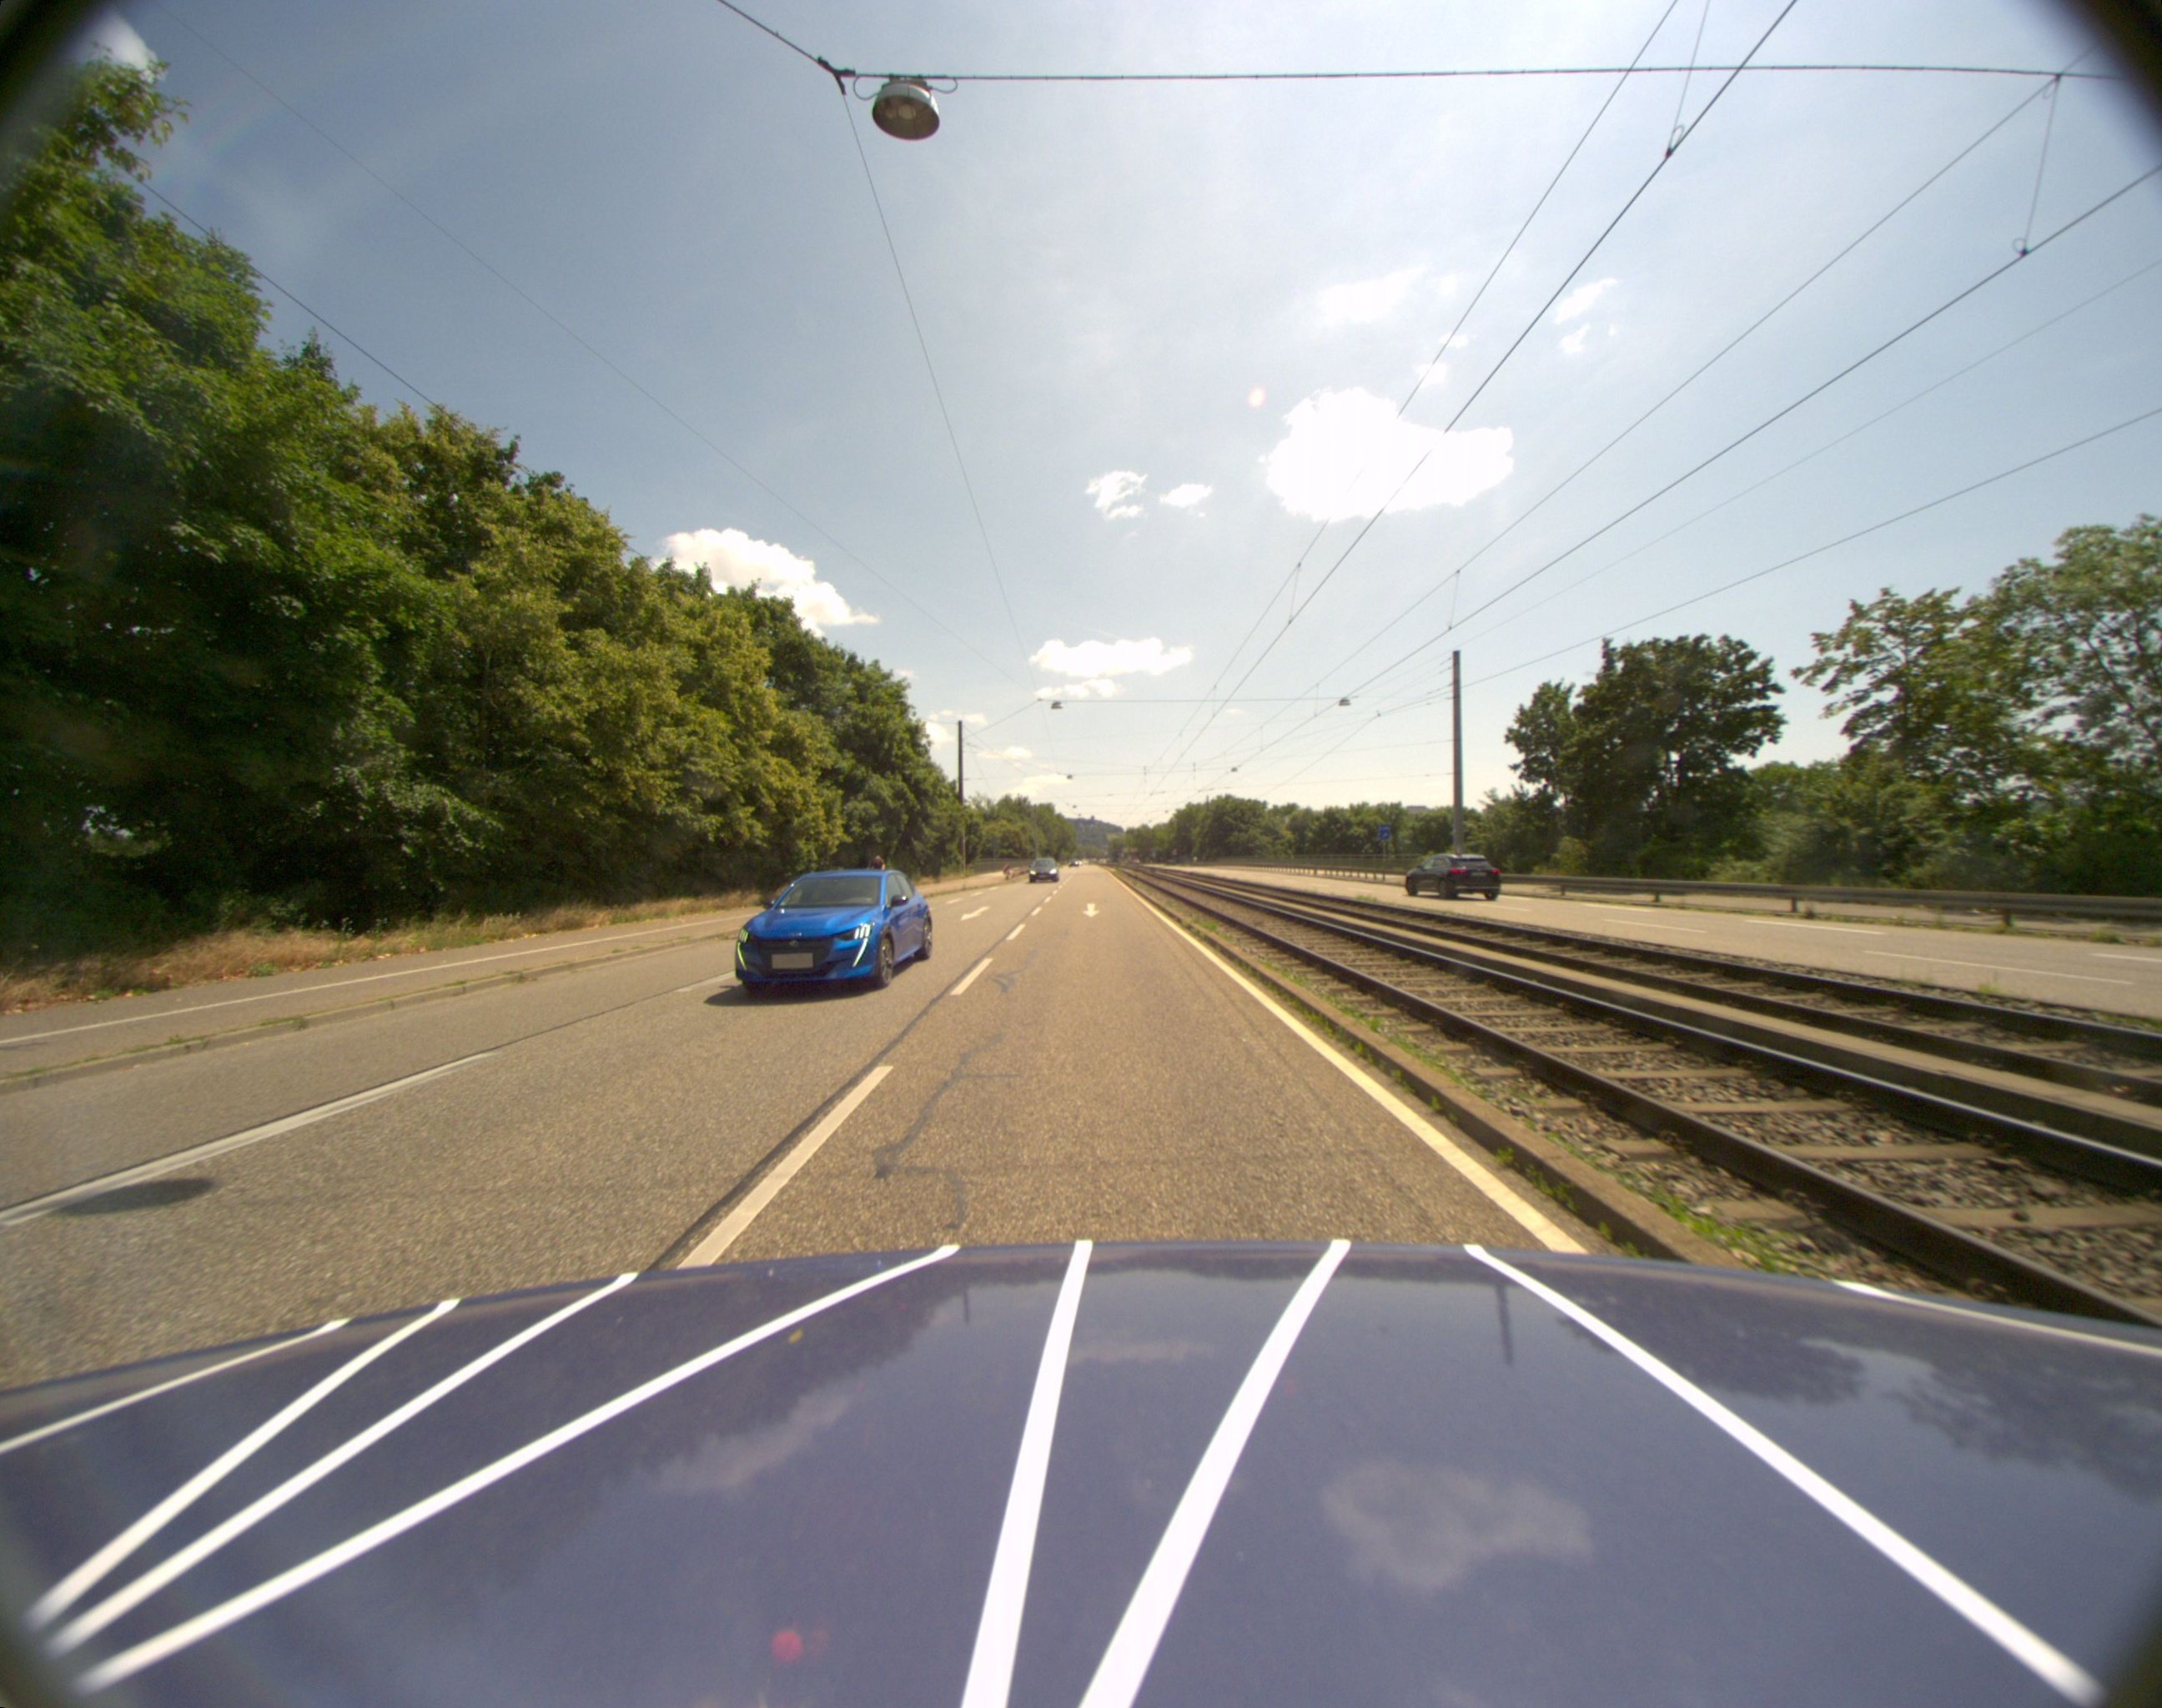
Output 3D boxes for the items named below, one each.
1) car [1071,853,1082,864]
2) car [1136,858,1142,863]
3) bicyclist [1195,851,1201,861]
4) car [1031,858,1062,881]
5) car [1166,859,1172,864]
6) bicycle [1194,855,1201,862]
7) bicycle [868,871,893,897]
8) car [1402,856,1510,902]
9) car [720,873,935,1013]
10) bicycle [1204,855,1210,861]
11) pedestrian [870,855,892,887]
[{"bbox_3d":[-0.889,0.892,147.997,1.998,2.002,4.000,-2,0,0],"label":"car"},{"bbox_3d":[17.647,1.843,230.393,1.715,1.412,4.624,0,0,1],"label":"car"},{"bbox_3d":[20.211,0.351,131.310,0.765,1.612,0.838,-2,1,1],"label":"bicyclist"},{"bbox_3d":[-2.230,0.968,49.463,1.769,1.359,3.743,-2,0,0],"label":"car"},{"bbox_3d":[25.039,2.042,216.090,1.567,1.339,3.929,0,0,1],"label":"car"},{"bbox_3d":[20.205,0.840,131.371,0.859,1.178,2.062,-2,0,0],"label":"bicycle"},{"bbox_3d":[-8.701,1.293,33.013,0.561,1.018,1.848,-1,1,1],"label":"bicycle"},{"bbox_3d":[13.445,0.854,27.568,1.822,1.505,4.427,0,0,1],"label":"car"},{"bbox_3d":[-3.188,1.043,10.368,1.660,1.397,3.743,-2,0,-1],"label":"car"},{"bbox_3d":[19.828,0.642,119.436,0.524,0.838,2.036,-3,0,-1],"label":"bicycle"},{"bbox_3d":[-8.704,0.747,33.143,0.629,1.366,1.050,-1,1,1],"label":"pedestrian"}]
